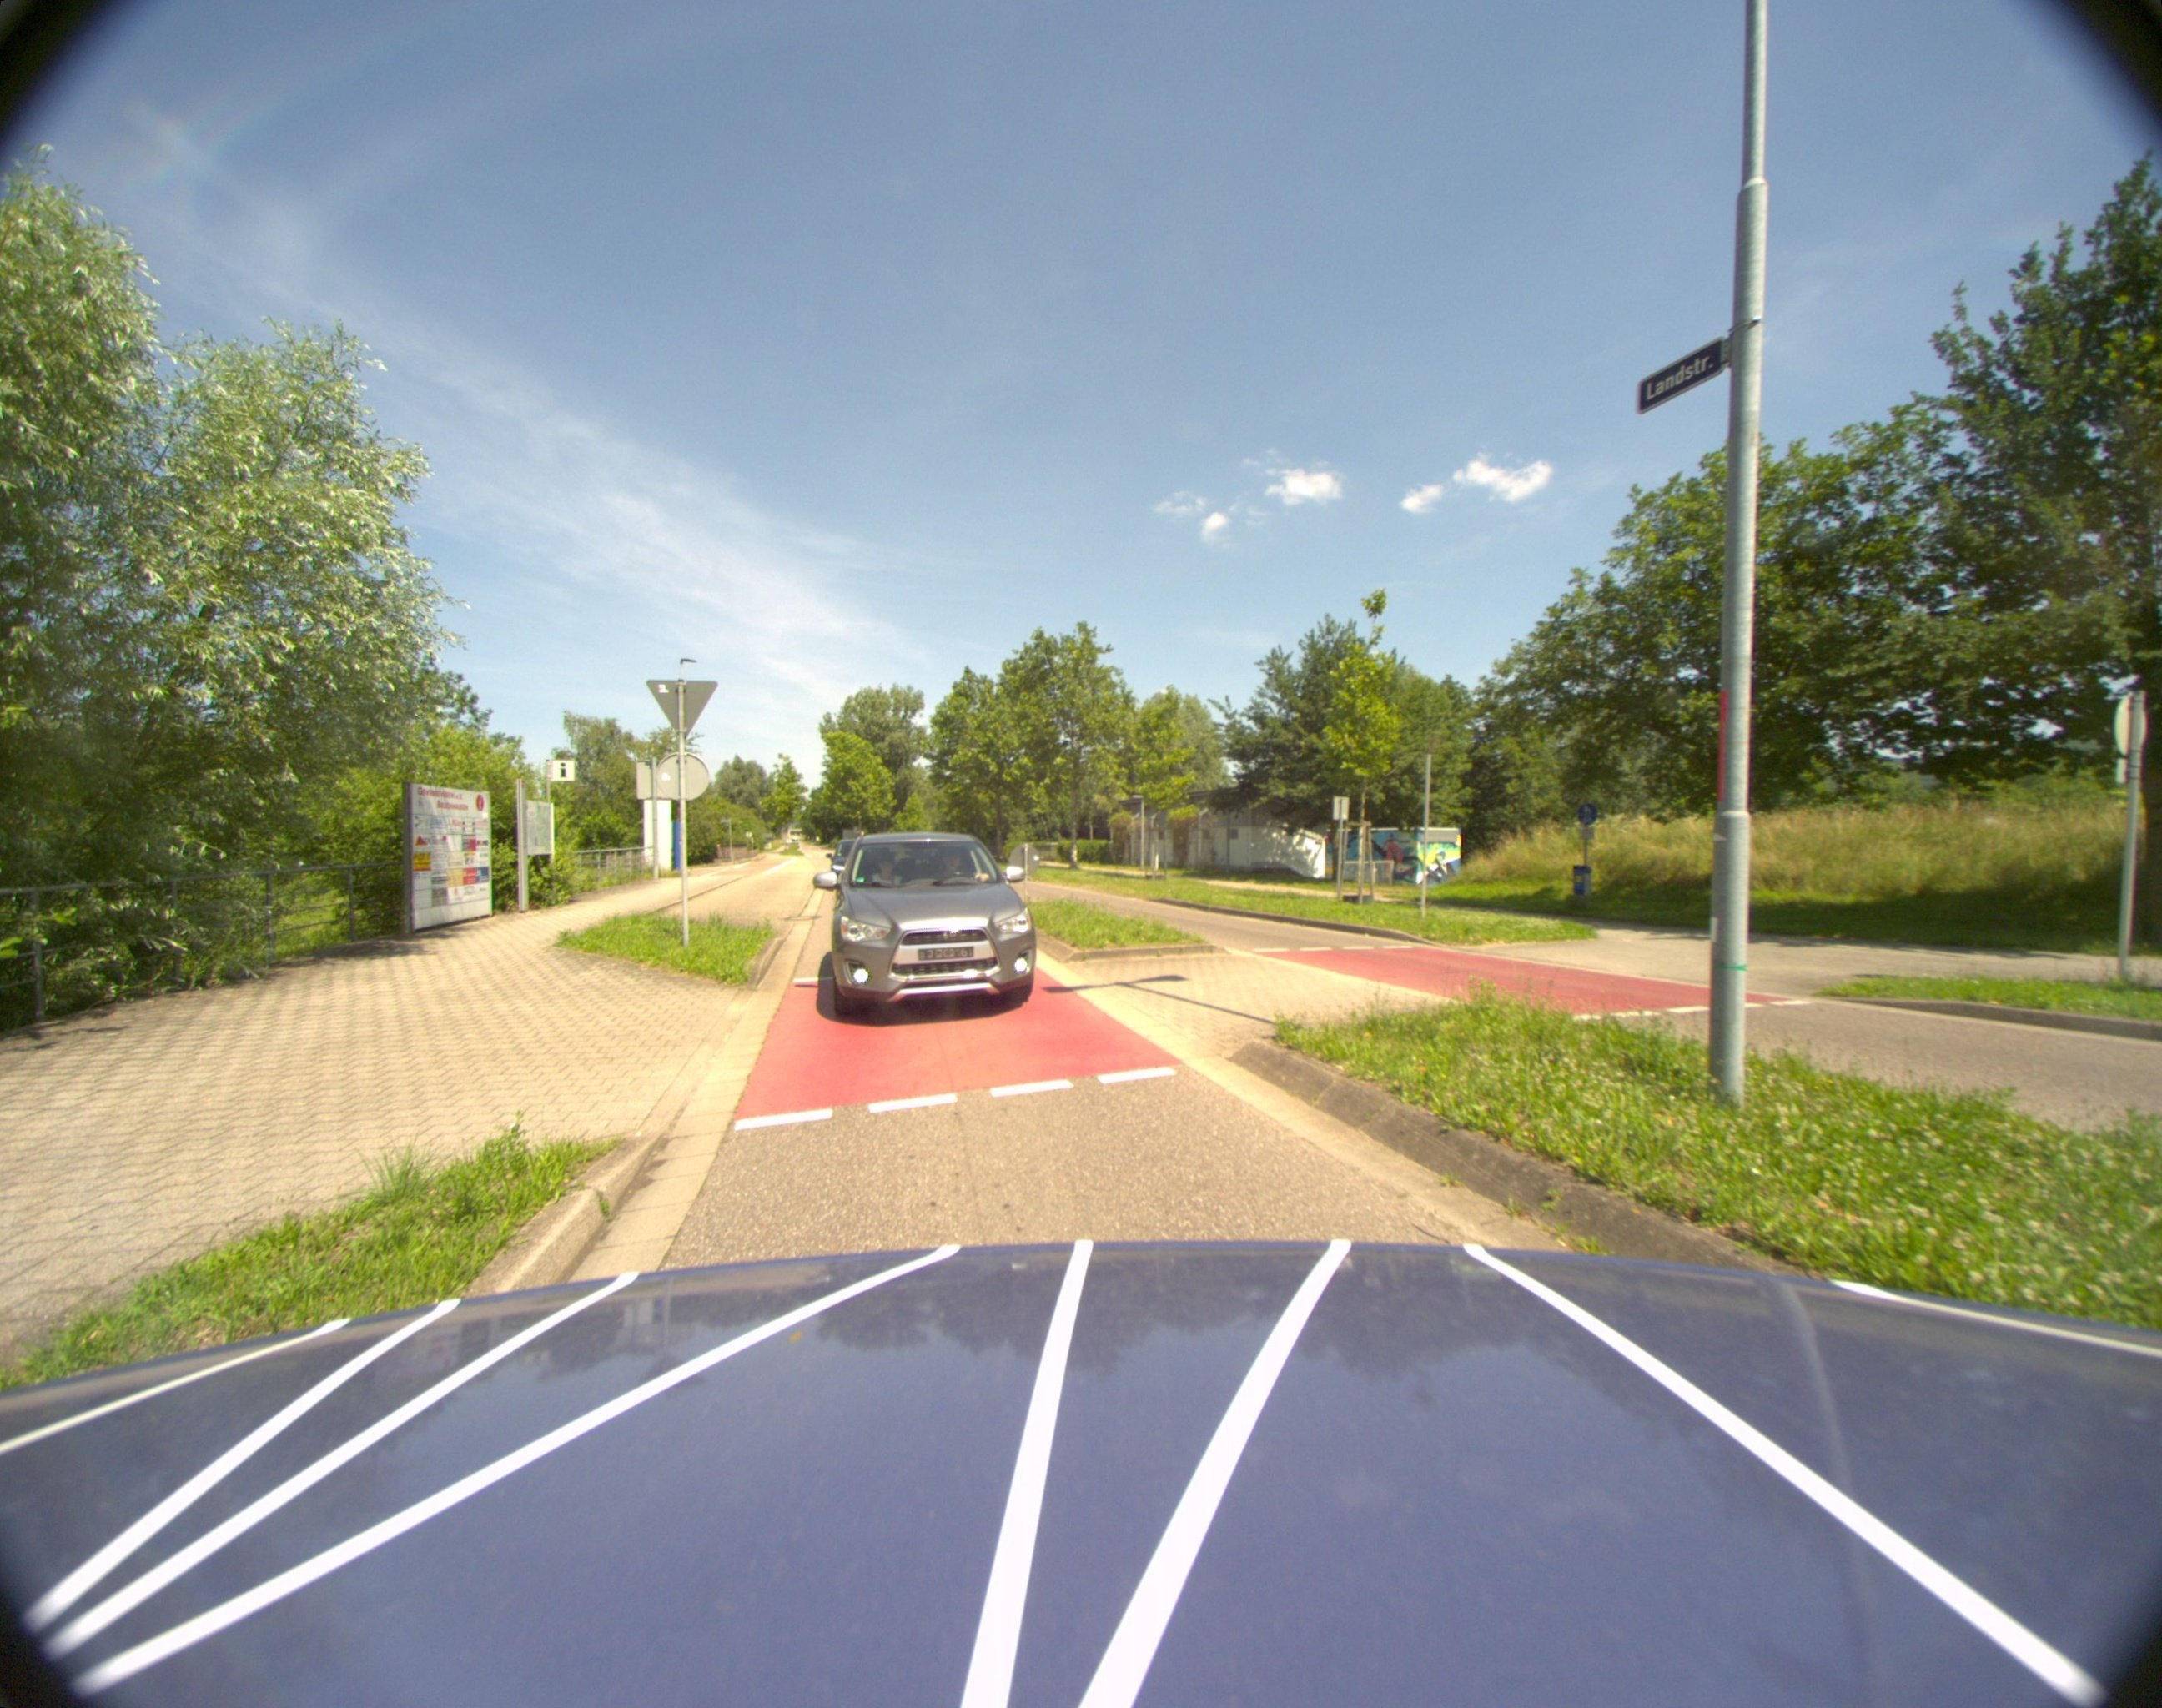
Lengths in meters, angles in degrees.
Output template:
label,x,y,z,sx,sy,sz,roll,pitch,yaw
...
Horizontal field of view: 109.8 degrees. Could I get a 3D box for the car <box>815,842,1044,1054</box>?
label,x,y,z,sx,sy,sz,roll,pitch,yaw
car,-1.810,0.675,8.130,1.752,1.525,4.516,-1,2,-17

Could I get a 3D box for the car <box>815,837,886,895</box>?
label,x,y,z,sx,sy,sz,roll,pitch,yaw
car,-6.803,0.282,22.735,1.795,1.531,4.125,-1,1,-14
